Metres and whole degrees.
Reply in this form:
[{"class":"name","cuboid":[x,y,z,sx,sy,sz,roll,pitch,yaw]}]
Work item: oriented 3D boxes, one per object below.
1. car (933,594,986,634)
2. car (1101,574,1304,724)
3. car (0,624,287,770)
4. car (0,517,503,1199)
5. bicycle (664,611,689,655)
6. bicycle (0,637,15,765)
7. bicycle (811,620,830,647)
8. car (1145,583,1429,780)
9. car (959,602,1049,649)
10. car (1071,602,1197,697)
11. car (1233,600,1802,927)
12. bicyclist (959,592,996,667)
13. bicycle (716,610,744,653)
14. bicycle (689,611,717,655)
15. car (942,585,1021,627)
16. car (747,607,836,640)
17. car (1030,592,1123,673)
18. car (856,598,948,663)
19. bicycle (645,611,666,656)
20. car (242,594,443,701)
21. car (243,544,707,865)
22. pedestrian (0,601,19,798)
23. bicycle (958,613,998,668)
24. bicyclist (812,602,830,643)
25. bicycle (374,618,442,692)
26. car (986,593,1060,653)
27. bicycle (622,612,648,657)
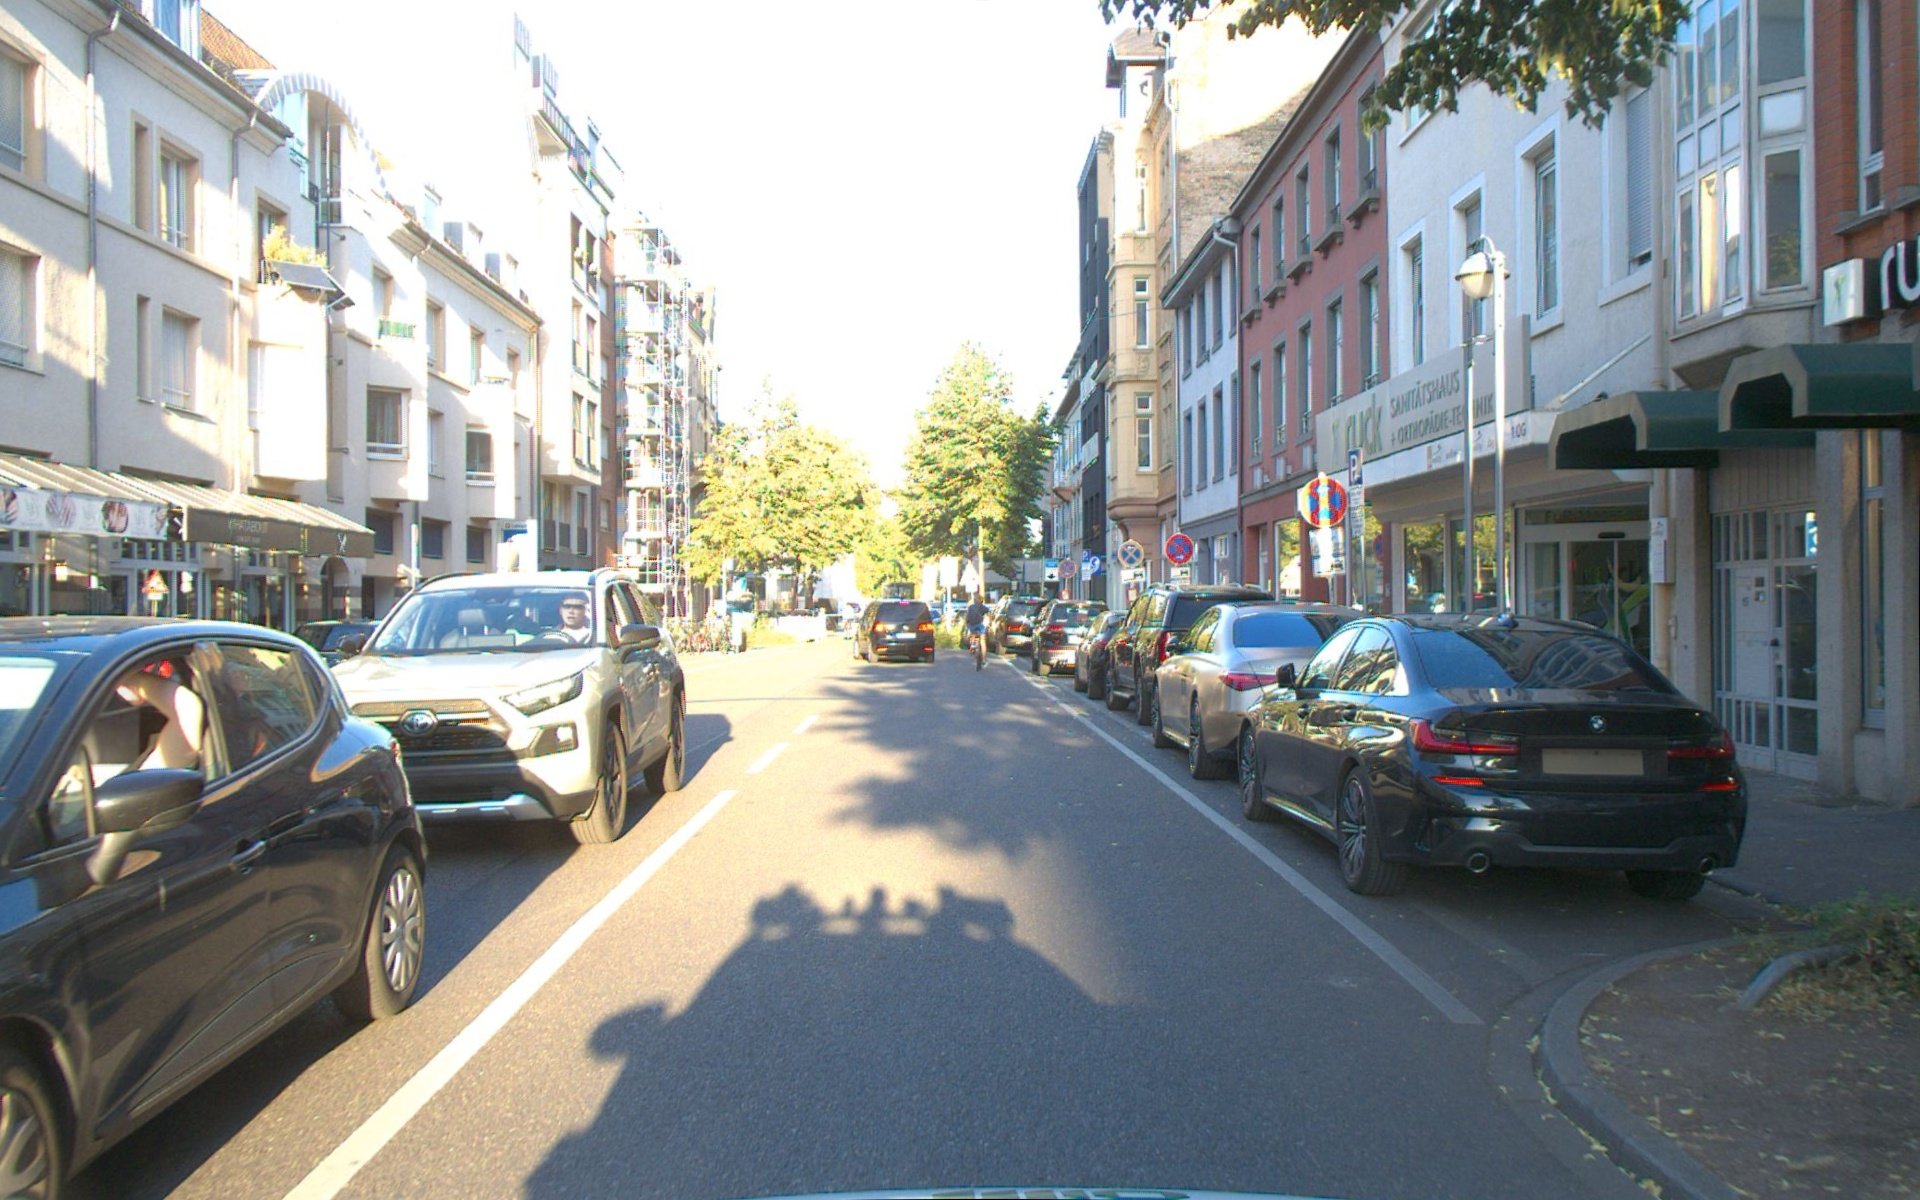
[{"class":"car","cuboid":[-0.060,0.717,83.306,2.221,1.797,4.505,5,-1,-4]},{"class":"car","cuboid":[3.134,0.624,22.389,1.845,1.785,5.056,1,-1,-2]},{"class":"car","cuboid":[-9.041,0.991,18.343,1.627,1.427,3.882,1,-1,-1]},{"class":"car","cuboid":[-2.721,0.665,4.543,1.688,1.577,4.464,-2,-1,-1]},{"class":"bicycle","cuboid":[-9.353,1.077,54.686,0.766,1.397,3.135,1,-1,-9]},{"class":"bicycle","cuboid":[-10.358,1.026,15.822,0.939,1.323,3.125,1,-1,-3]},{"class":"bicycle","cuboid":[-6.385,1.531,75.845,0.765,1.225,2.019,-1,-1,-3]},{"class":"car","cuboid":[2.895,0.685,15.716,1.774,1.554,4.993,1,-1,1]},{"class":"car","cuboid":[1.485,0.861,56.346,2.910,1.563,1.432,1,-1,-5]},{"class":"car","cuboid":[2.959,0.827,28.918,1.726,1.509,4.306,1,-1,0]},{"class":"car","cuboid":[2.899,0.745,9.737,1.717,1.445,4.508,1,0,-2]},{"class":"bicyclist","cuboid":[0.410,0.698,39.076,0.765,1.726,1.006,-1,-1,-3]},{"class":"bicycle","cuboid":[-7.654,1.040,54.996,0.829,1.374,3.180,-1,-1,-9]},{"class":"bicycle","cuboid":[-8.523,1.072,54.841,0.876,1.420,3.159,0,-1,-9]},{"class":"car","cuboid":[1.121,0.303,83.879,3.903,2.049,2.001,-1,0,3]},{"class":"car","cuboid":[-8.082,1.121,79.496,4.018,1.491,1.889,1,-1,0]},{"class":"car","cuboid":[2.566,0.724,37.284,1.775,1.697,4.205,1,-1,0]},{"class":"car","cuboid":[-1.617,0.812,44.306,1.956,1.630,4.500,1,-1,-8]},{"class":"bicycle","cuboid":[-10.030,1.084,54.552,0.574,1.420,3.154,1,-1,-9]},{"class":"car","cuboid":[-9.258,0.692,25.106,1.676,1.479,3.724,1,-1,-1]},{"class":"car","cuboid":[-2.978,0.591,11.297,1.901,1.673,4.736,-2,-1,-2]},{"class":"pedestrian","cuboid":[-8.945,0.897,14.353,0.888,1.705,0.990,-1,2,33]},{"class":"bicycle","cuboid":[0.412,0.943,39.023,0.765,1.225,2.019,-1,-1,-3]},{"class":"bicyclist","cuboid":[-6.380,1.022,75.964,0.765,1.861,1.006,-1,-1,-3]},{"class":"bicycle","cuboid":[-10.908,1.066,32.759,0.598,1.399,2.358,1,-1,-1]},{"class":"car","cuboid":[1.891,0.704,50.724,1.789,1.725,4.365,1,-1,-4]},{"class":"bicycle","cuboid":[-10.685,1.117,54.431,0.708,1.420,3.146,1,-1,-9]}]
